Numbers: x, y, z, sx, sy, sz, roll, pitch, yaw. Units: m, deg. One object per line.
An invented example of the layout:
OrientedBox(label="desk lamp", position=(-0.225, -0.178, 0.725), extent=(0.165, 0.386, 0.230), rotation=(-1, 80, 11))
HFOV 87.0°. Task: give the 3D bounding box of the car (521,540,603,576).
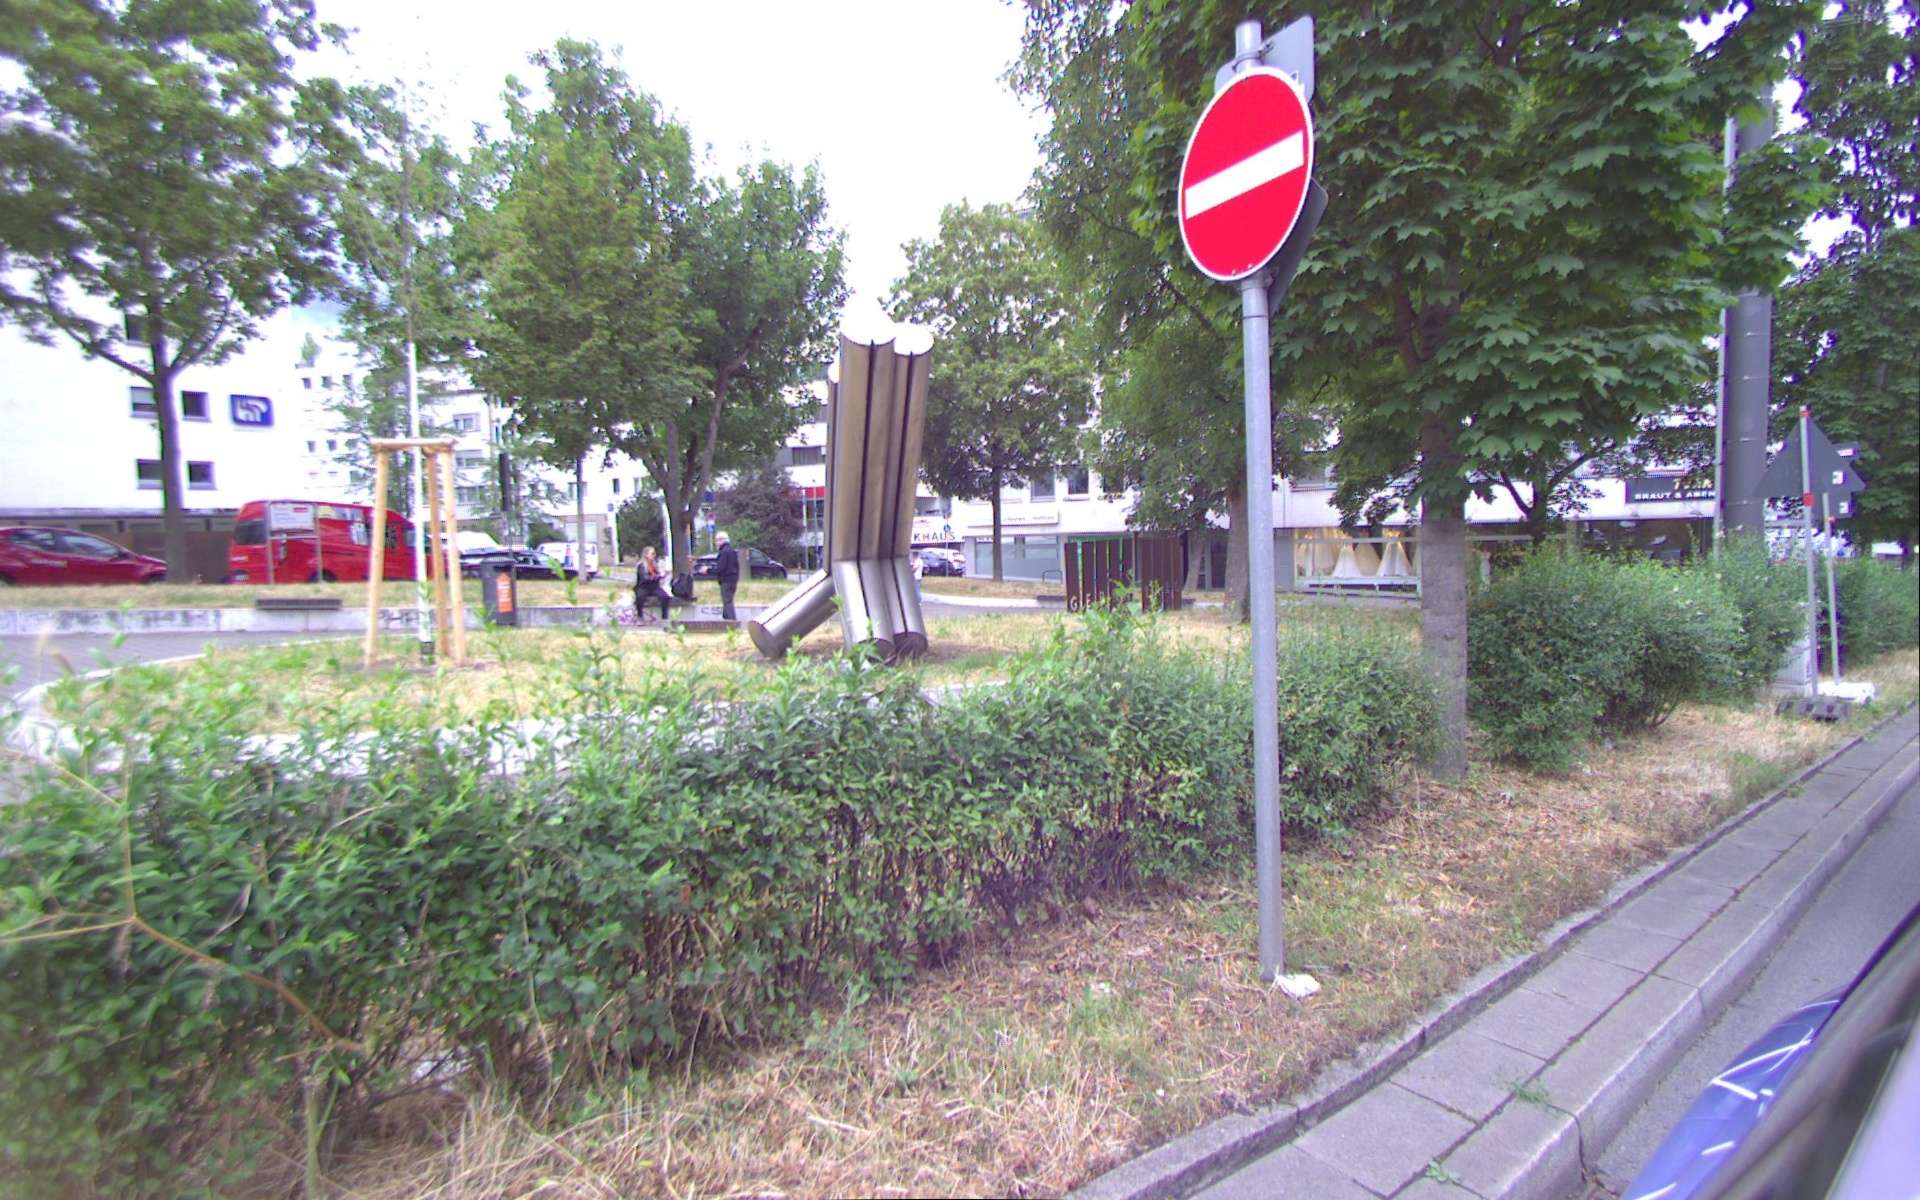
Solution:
OrientedBox(label="car", position=(-22.456, -2.374, 56.980), extent=(4.759, 1.969, 2.198), rotation=(3, 2, 38))

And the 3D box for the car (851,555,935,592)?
OrientedBox(label="car", position=(-3.407, -1.347, 51.020), extent=(3.982, 1.738, 1.972), rotation=(3, 3, 39))

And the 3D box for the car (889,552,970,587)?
OrientedBox(label="car", position=(-1.635, -1.616, 53.317), extent=(3.982, 1.738, 1.972), rotation=(3, 3, 39))

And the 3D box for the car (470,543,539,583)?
OrientedBox(label="car", position=(-27.364, -2.224, 60.787), extent=(3.968, 2.272, 1.985), rotation=(2, 2, 34))

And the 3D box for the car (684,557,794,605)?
OrientedBox(label="car", position=(-8.659, -0.784, 40.117), extent=(1.977, 1.762, 4.750), rotation=(2, 2, 22))

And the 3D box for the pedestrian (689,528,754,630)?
OrientedBox(label="pedestrian", position=(-3.929, -0.360, 16.691), extent=(0.719, 1.622, 0.786), rotation=(2, 2, 25))

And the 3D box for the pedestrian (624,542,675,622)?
OrientedBox(label="pedestrian", position=(-5.201, -0.310, 16.935), extent=(0.672, 1.308, 0.657), rotation=(0, 2, -32))

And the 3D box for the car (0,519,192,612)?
OrientedBox(label="car", position=(-16.635, -0.641, 18.605), extent=(1.728, 1.584, 3.691), rotation=(2, 2, 21))

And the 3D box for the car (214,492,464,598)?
OrientedBox(label="car", position=(-14.589, -1.257, 24.144), extent=(2.101, 2.240, 4.862), rotation=(2, 2, 20))

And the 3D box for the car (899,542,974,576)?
OrientedBox(label="car", position=(-1.295, -2.248, 55.917), extent=(3.976, 1.708, 1.667), rotation=(-1, 0, 37))

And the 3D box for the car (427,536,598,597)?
OrientedBox(label="car", position=(-12.743, -0.952, 29.136), extent=(1.977, 1.584, 4.384), rotation=(2, 2, 22))

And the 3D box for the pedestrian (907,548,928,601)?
OrientedBox(label="pedestrian", position=(-1.253, -0.761, 29.926), extent=(0.517, 1.552, 0.675), rotation=(1, 2, -11))

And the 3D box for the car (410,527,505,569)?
OrientedBox(label="car", position=(-23.745, -2.453, 47.775), extent=(4.581, 1.900, 2.078), rotation=(2, 2, 35))
